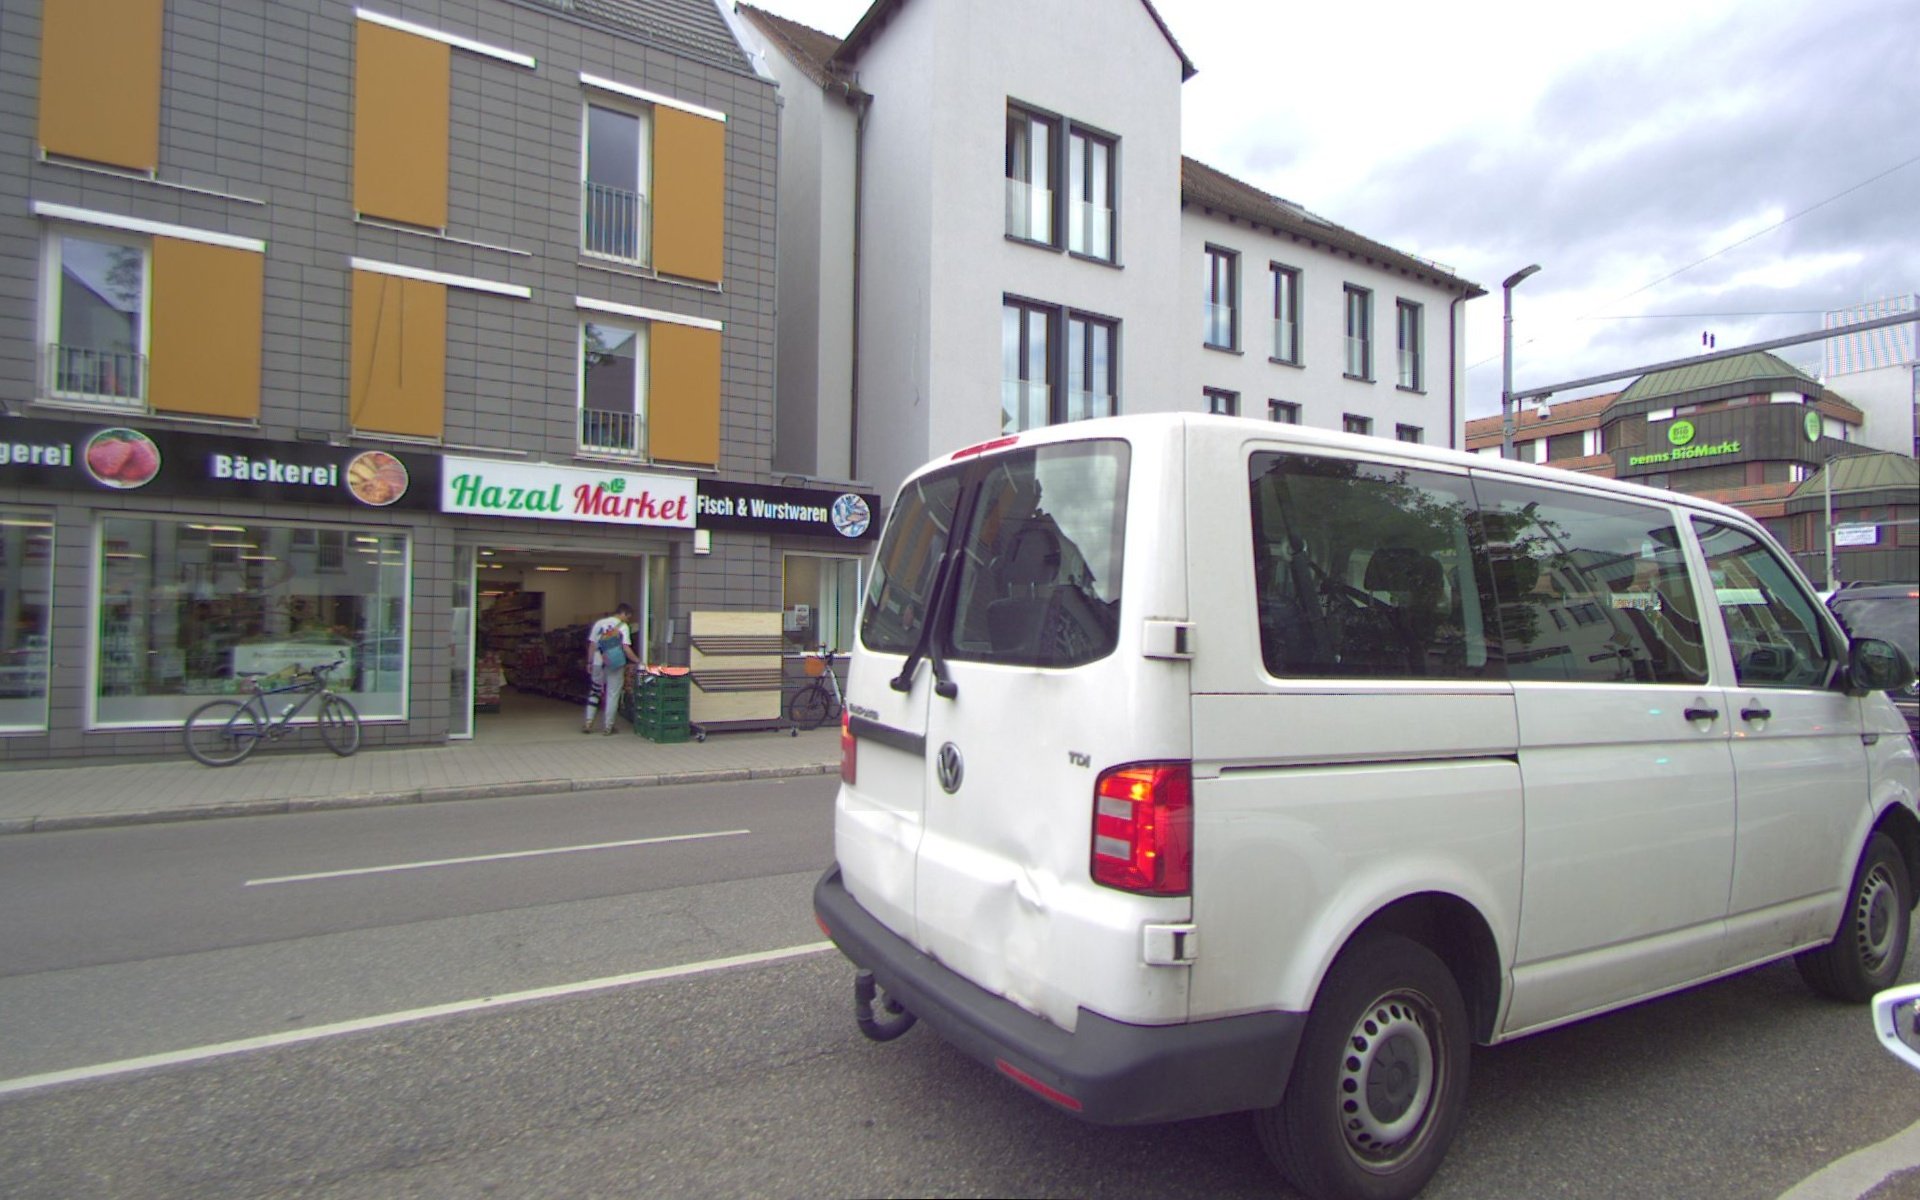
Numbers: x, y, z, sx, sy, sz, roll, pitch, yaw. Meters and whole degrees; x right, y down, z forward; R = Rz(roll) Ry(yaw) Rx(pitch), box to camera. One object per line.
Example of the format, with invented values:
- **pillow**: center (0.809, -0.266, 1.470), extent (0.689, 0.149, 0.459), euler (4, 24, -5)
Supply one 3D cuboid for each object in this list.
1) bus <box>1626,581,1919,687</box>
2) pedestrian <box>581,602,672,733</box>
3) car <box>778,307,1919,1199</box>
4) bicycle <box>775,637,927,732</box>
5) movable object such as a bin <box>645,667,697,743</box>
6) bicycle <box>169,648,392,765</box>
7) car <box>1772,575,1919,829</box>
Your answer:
- **bus**: center (29.904, 1.175, 34.779), extent (12.071, 3.370, 2.996), euler (-1, -3, -5)
- **pedestrian**: center (-4.437, 0.871, 13.342), extent (0.960, 1.665, 0.883), euler (1, -1, -31)
- **car**: center (1.911, 0.514, 3.983), extent (4.784, 2.040, 1.984), euler (1, 0, -31)
- **bicycle**: center (-1.517, 1.162, 14.186), extent (2.096, 1.248, 0.579), euler (1, -1, -32)
- **movable object such as a bin**: center (-3.680, 1.321, 12.770), extent (0.501, 0.911, 0.548), euler (1, -1, -32)
- **bicycle**: center (-7.078, 1.079, 10.579), extent (1.880, 1.115, 0.569), euler (1, -1, -30)
- **car**: center (8.898, 0.792, 8.529), extent (4.520, 1.845, 1.698), euler (1, 0, -32)
